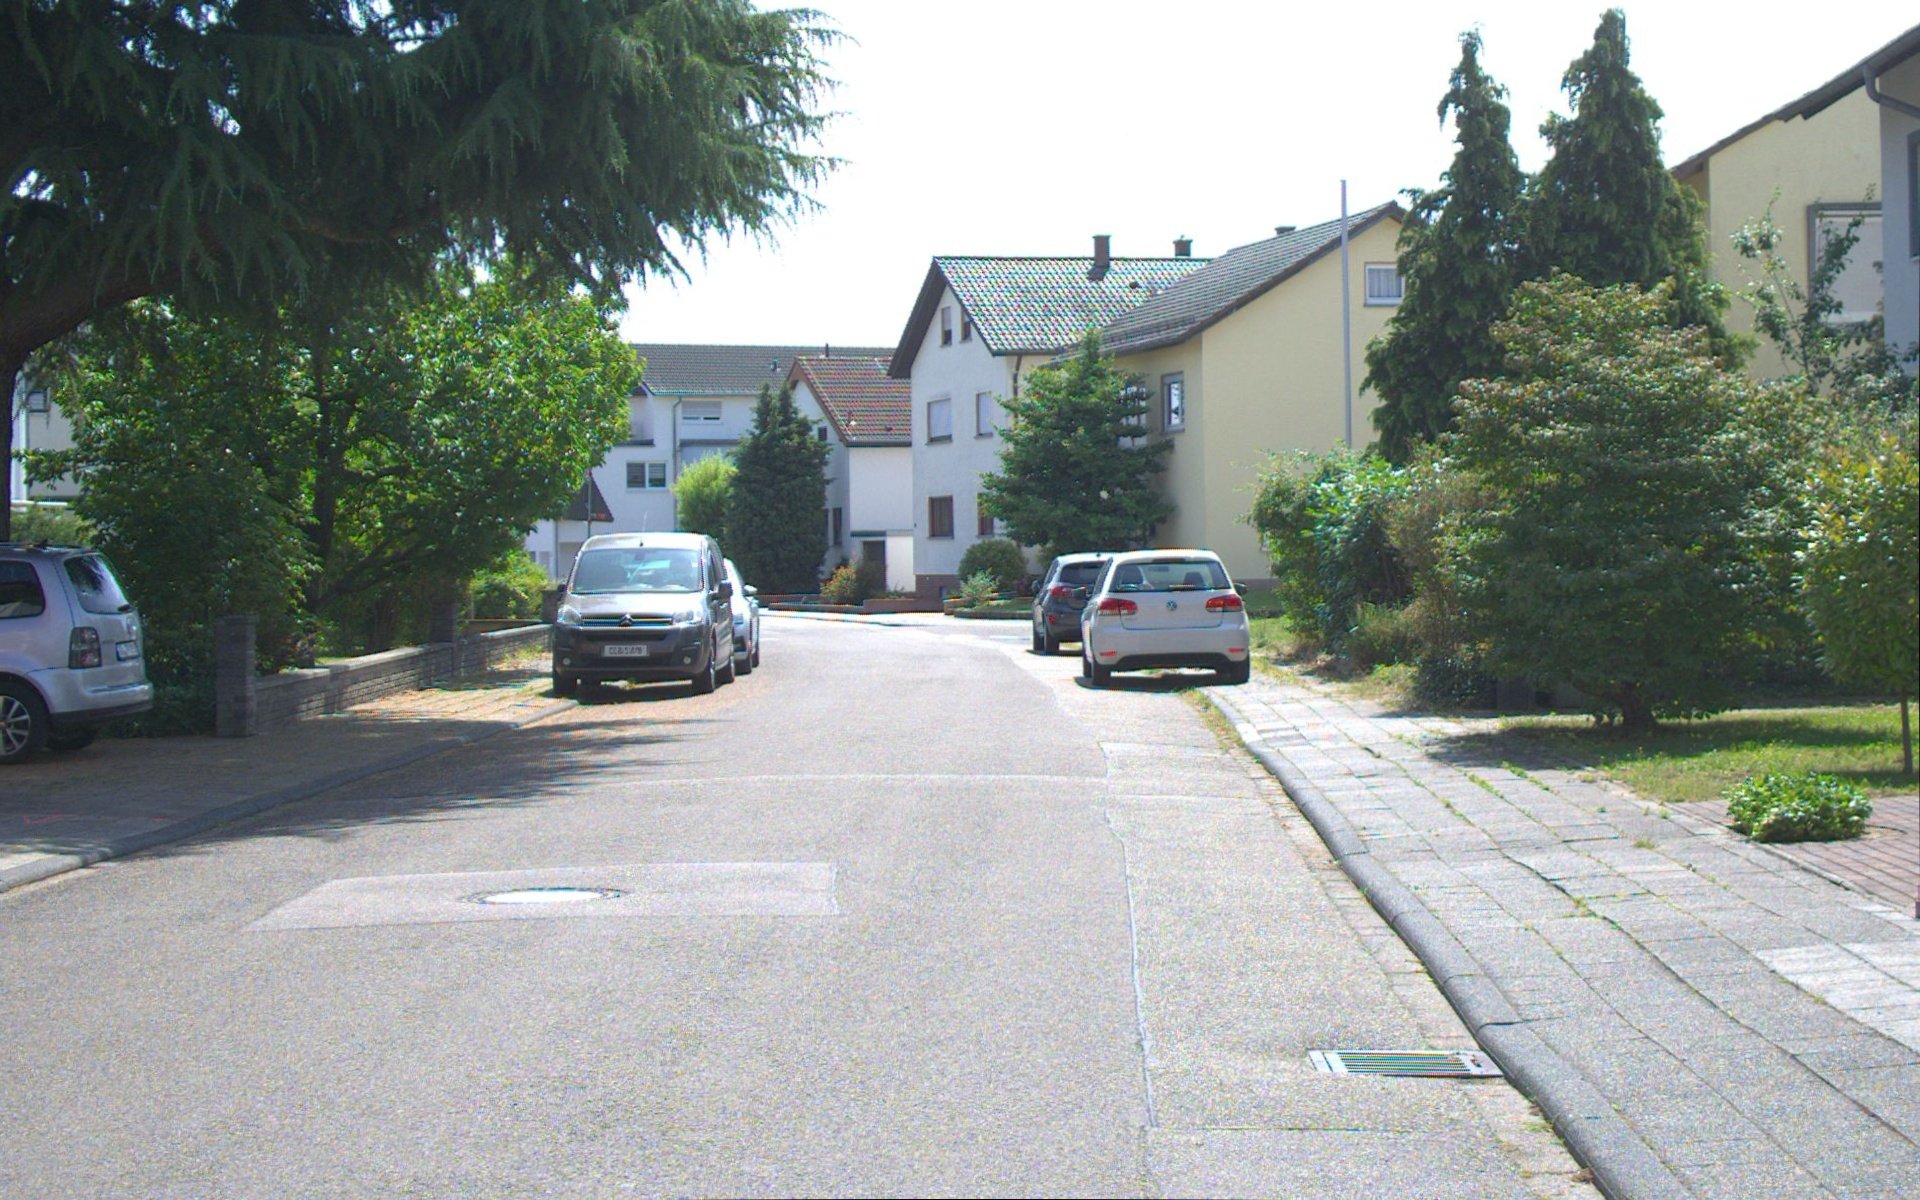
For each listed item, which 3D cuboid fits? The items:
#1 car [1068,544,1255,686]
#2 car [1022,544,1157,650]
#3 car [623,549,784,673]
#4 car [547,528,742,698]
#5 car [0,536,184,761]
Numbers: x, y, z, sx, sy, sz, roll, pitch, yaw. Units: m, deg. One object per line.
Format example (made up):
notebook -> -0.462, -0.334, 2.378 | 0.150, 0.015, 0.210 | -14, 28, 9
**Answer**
car -> 2.225, 0.132, 38.827 | 1.808, 1.490, 4.000 | -1, 1, -1
car -> 1.898, -0.076, 51.581 | 1.808, 1.490, 4.000 | -1, 1, -1
car -> -3.276, 0.109, 44.590 | 1.808, 1.490, 4.000 | -1, 1, -1
car -> -3.463, 0.103, 38.433 | 1.808, 1.757, 4.207 | -1, 1, -1
car -> -8.323, 0.372, 26.473 | 4.193, 1.647, 1.814 | -1, 1, 5
